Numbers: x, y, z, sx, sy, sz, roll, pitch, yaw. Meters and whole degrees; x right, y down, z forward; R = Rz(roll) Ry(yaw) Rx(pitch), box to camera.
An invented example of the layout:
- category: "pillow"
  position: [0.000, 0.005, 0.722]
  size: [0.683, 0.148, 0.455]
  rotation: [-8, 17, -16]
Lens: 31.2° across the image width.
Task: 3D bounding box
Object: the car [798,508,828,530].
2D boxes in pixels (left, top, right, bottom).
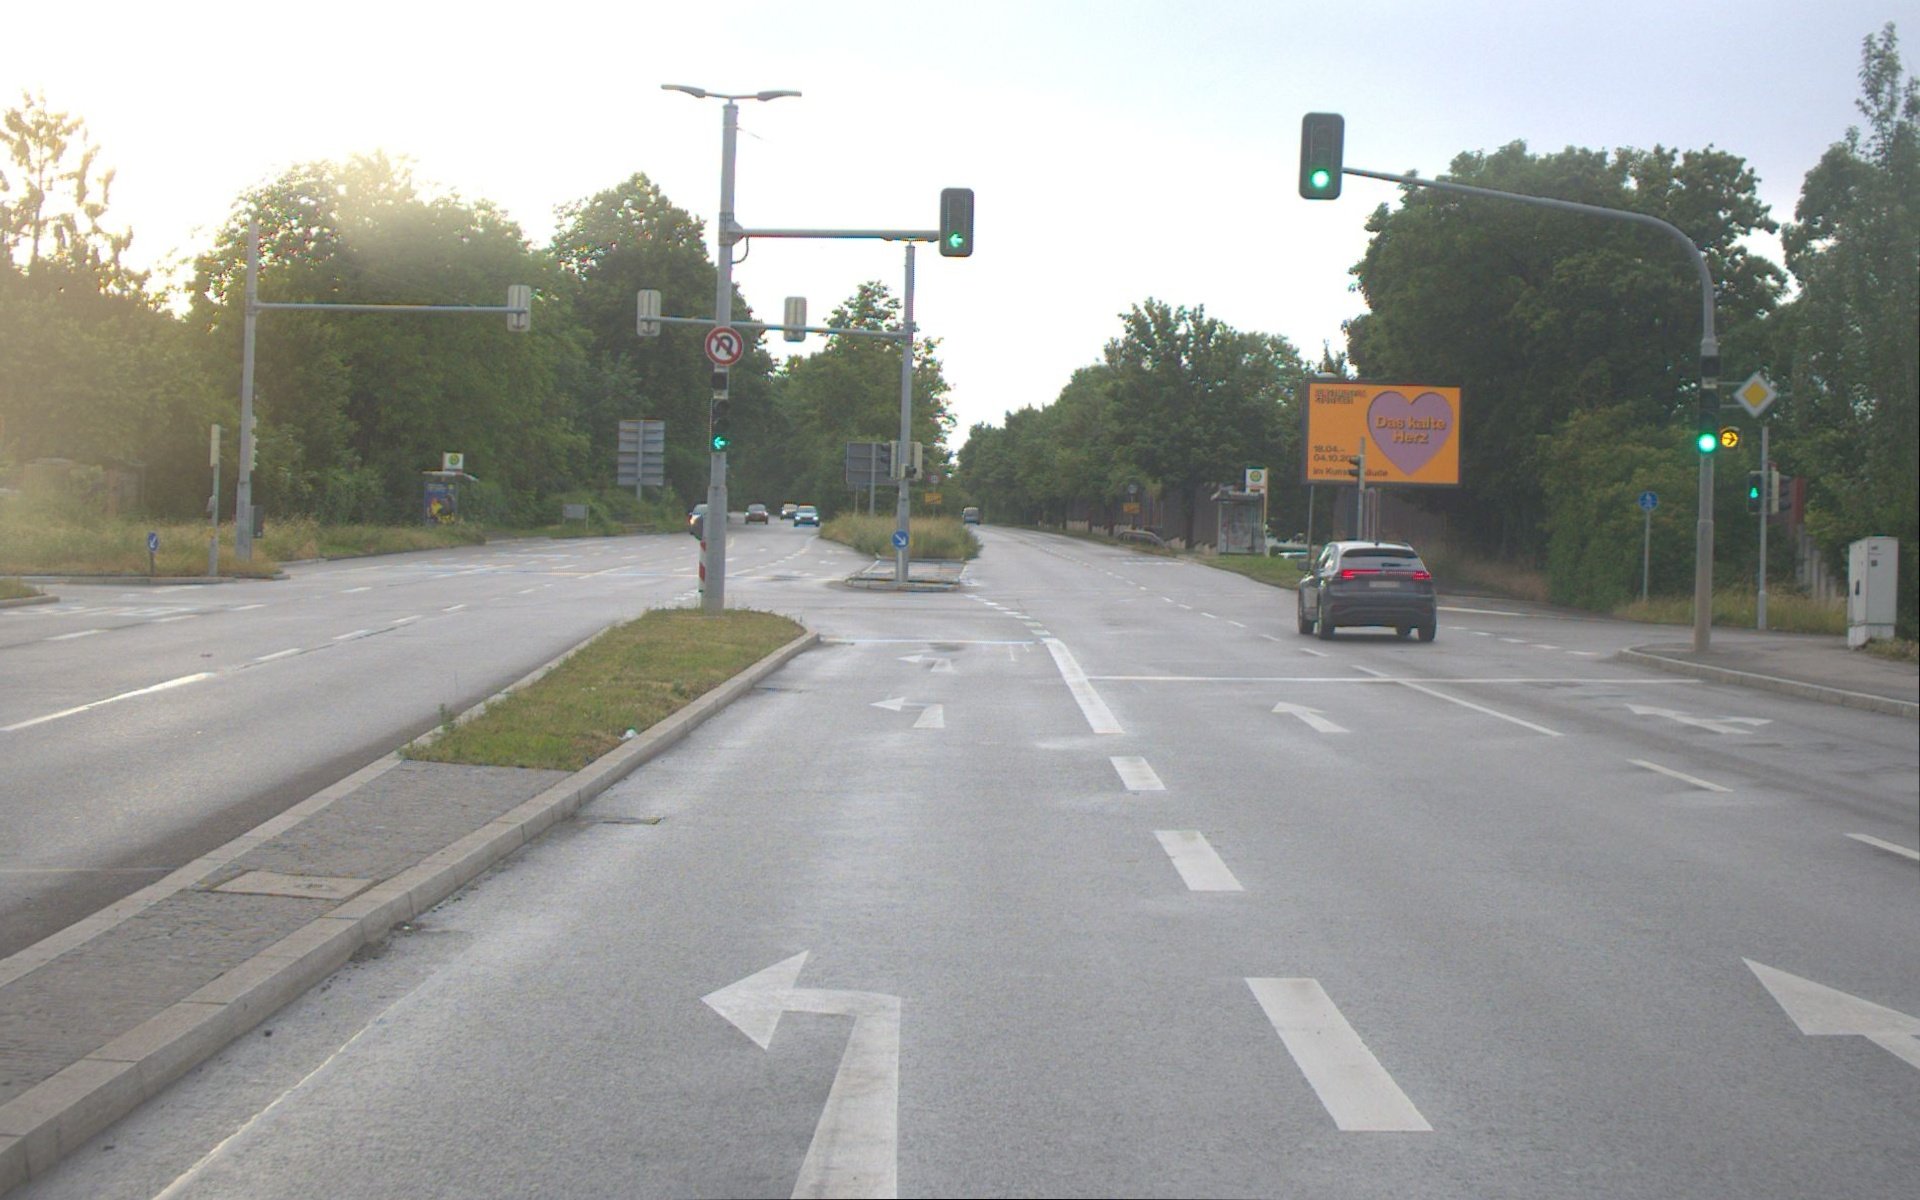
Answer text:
- category: "car"
  position: [-10.410, -5.747, 244.112]
  size: [1.893, 1.529, 4.489]
  rotation: [2, 1, -1]

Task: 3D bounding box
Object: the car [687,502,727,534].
- category: "car"
  position: [-13.298, -4.321, 180.895]
  size: [1.768, 1.590, 4.489]
  rotation: [2, 1, -1]

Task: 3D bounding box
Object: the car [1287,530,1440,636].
- category: "car"
  position: [6.094, -0.289, 52.287]
  size: [1.745, 1.465, 4.166]
  rotation: [2, 1, 0]
